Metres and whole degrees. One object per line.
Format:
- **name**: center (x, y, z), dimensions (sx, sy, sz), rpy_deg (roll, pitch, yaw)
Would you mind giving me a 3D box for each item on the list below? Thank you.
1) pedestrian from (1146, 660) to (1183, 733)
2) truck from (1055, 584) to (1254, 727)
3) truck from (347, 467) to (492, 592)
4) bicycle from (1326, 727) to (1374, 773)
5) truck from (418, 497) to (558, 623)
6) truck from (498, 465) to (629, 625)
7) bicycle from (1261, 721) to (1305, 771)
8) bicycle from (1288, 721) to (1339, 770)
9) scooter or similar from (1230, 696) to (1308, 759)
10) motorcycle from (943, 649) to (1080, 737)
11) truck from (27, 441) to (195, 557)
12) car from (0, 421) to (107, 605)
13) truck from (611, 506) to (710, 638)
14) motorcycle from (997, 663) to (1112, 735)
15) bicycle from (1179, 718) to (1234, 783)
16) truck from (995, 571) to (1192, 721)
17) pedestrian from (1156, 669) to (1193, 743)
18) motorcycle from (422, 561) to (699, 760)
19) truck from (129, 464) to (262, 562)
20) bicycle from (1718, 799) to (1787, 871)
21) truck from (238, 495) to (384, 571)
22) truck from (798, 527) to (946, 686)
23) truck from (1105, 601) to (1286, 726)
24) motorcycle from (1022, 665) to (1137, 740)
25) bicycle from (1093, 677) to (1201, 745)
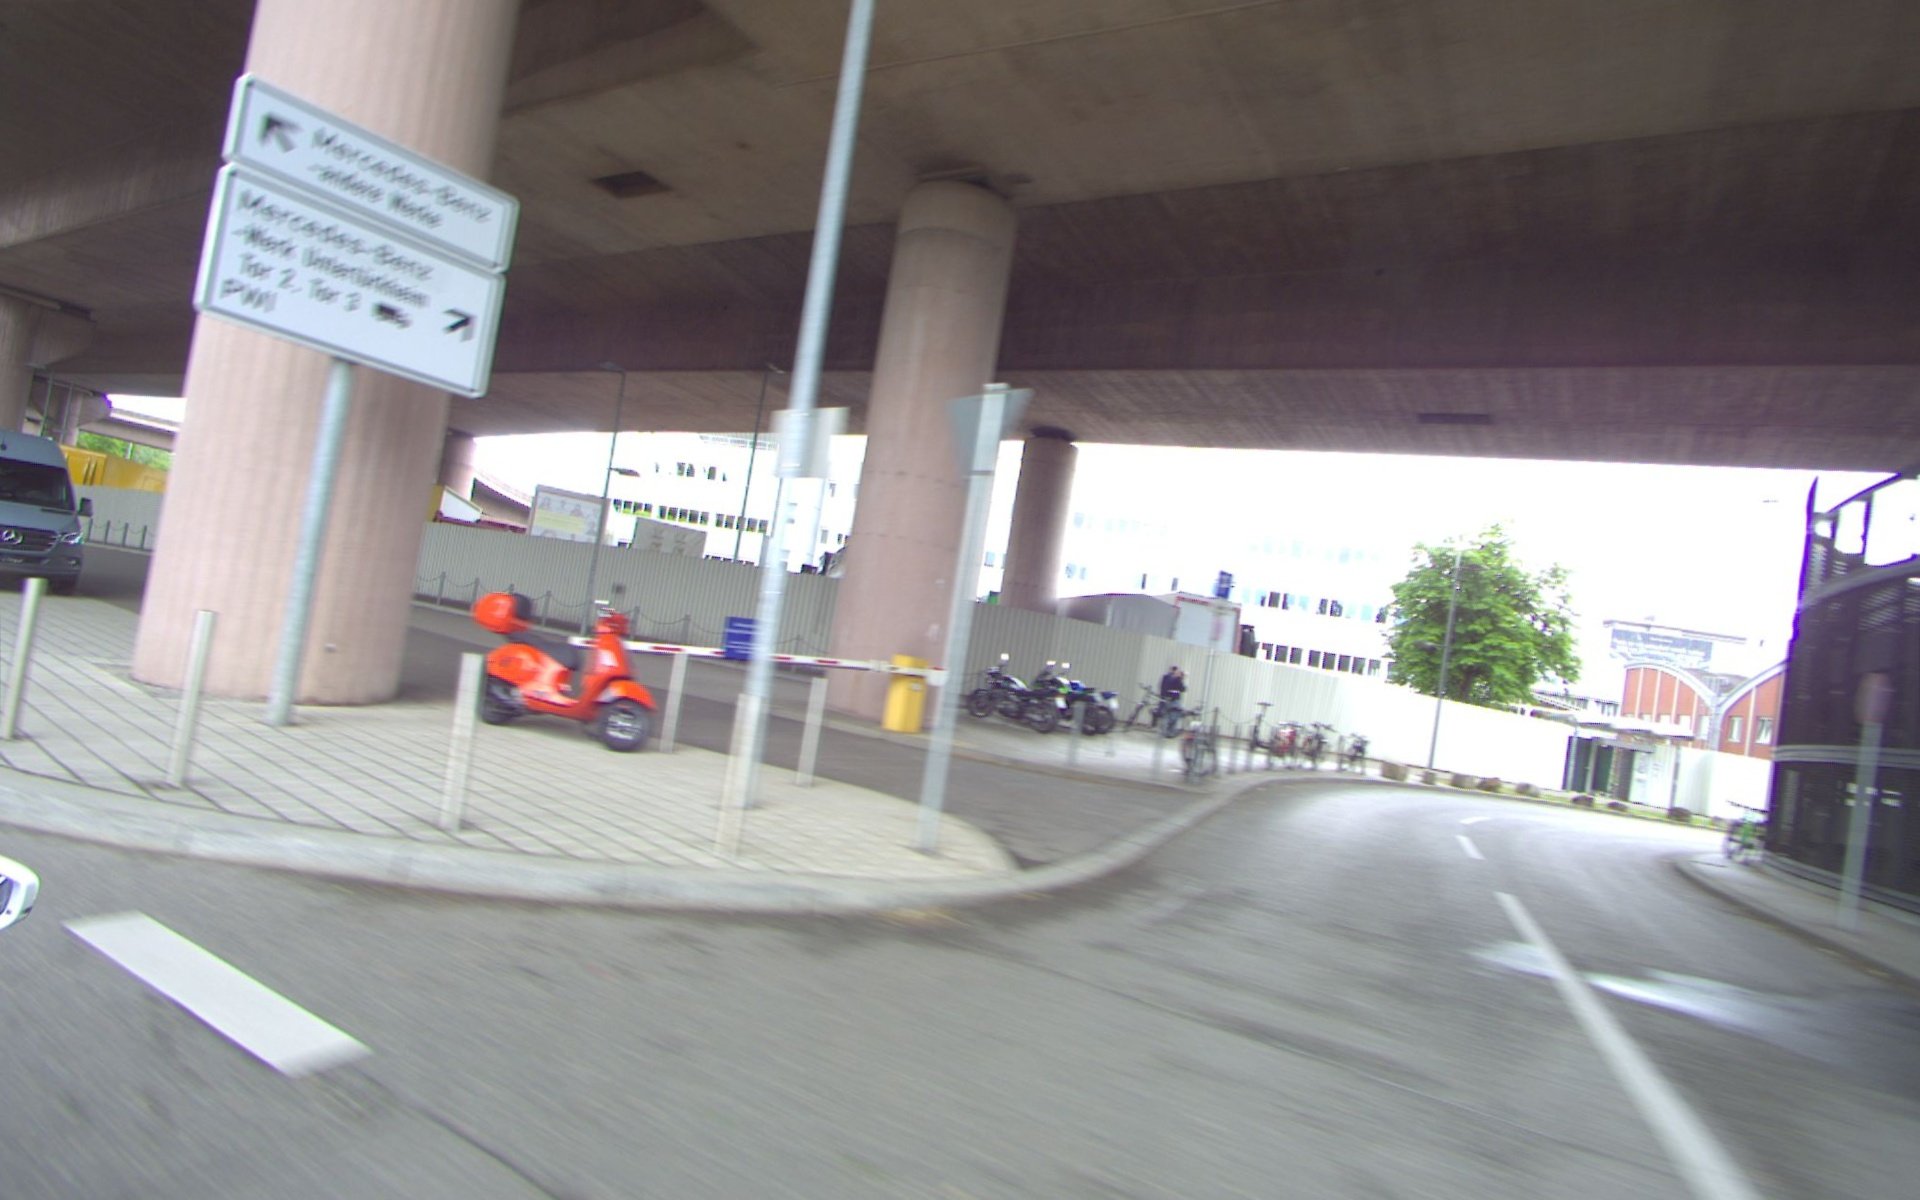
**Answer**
- **pedestrian**: center (5.498, 2.593, 27.025), dimensions (0.499, 1.847, 0.642), rpy_deg (7, -2, 40)
- **truck**: center (6.704, 1.796, 36.619), dimensions (2.869, 4.286, 8.741), rpy_deg (8, -2, -17)
- **truck**: center (-23.836, -2.834, 45.044), dimensions (3.101, 4.494, 9.699), rpy_deg (8, -2, -15)
- **bicycle**: center (9.971, 3.842, 25.695), dimensions (0.431, 1.034, 1.729), rpy_deg (8, -3, 42)
- **truck**: center (-19.301, -1.445, 41.906), dimensions (2.854, 4.231, 10.042), rpy_deg (8, -2, -14)
- **truck**: center (-15.079, -1.860, 39.141), dimensions (3.101, 4.979, 9.699), rpy_deg (8, -2, -15)
- **bicycle**: center (7.131, 3.224, 22.167), dimensions (0.429, 0.993, 1.734), rpy_deg (9, -3, 31)
- **bicycle**: center (8.467, 3.498, 24.027), dimensions (0.390, 1.034, 2.058), rpy_deg (9, -3, 38)
- **scooter or similar**: center (7.789, 3.213, 25.363), dimensions (1.656, 1.232, 0.542), rpy_deg (12, 0, -15)
- **motorcycle**: center (0.975, 1.803, 19.648), dimensions (2.497, 1.249, 0.783), rpy_deg (9, 0, 37)
- **truck**: center (-47.331, -5.413, 56.551), dimensions (3.100, 4.970, 8.700), rpy_deg (9, -3, -14)
- **car**: center (-16.789, -1.625, 17.168), dimensions (5.983, 2.643, 1.994), rpy_deg (7, -2, 38)
- **truck**: center (-11.753, -0.963, 39.983), dimensions (2.772, 4.206, 9.903), rpy_deg (8, -2, -15)
- **motorcycle**: center (1.974, 2.069, 21.194), dimensions (2.292, 1.118, 0.544), rpy_deg (8, -2, 34)
- **bicycle**: center (4.096, 2.464, 16.638), dimensions (0.411, 0.936, 2.021), rpy_deg (9, -3, 24)
- **truck**: center (4.252, 1.405, 34.690), dimensions (2.869, 4.206, 8.741), rpy_deg (8, -2, -17)
- **pedestrian**: center (5.631, 2.782, 26.373), dimensions (0.498, 1.847, 0.694), rpy_deg (7, -2, 34)
- **motorcycle**: center (-3.556, 0.522, 8.995), dimensions (2.089, 1.382, 0.799), rpy_deg (9, -1, 16)
- **truck**: center (-49.569, -5.463, 65.648), dimensions (3.100, 4.956, 8.700), rpy_deg (9, -3, -14)
- **bicycle**: center (15.008, 4.428, 19.095), dimensions (0.429, 1.091, 1.790), rpy_deg (9, -2, 23)
- **truck**: center (-32.186, -3.172, 50.391), dimensions (3.097, 2.980, 8.695), rpy_deg (6, 0, -13)
- **truck**: center (-3.398, 0.226, 34.986), dimensions (2.967, 4.352, 10.273), rpy_deg (8, -2, -14)
- **truck**: center (9.506, 2.409, 41.970), dimensions (2.869, 4.286, 8.741), rpy_deg (8, -2, -17)
- **motorcycle**: center (2.599, 2.226, 22.036), dimensions (2.290, 1.118, 0.573), rpy_deg (12, 0, 31)
- **bicycle**: center (4.378, 2.593, 23.509), dimensions (2.299, 1.118, 0.618), rpy_deg (12, 0, -18)
